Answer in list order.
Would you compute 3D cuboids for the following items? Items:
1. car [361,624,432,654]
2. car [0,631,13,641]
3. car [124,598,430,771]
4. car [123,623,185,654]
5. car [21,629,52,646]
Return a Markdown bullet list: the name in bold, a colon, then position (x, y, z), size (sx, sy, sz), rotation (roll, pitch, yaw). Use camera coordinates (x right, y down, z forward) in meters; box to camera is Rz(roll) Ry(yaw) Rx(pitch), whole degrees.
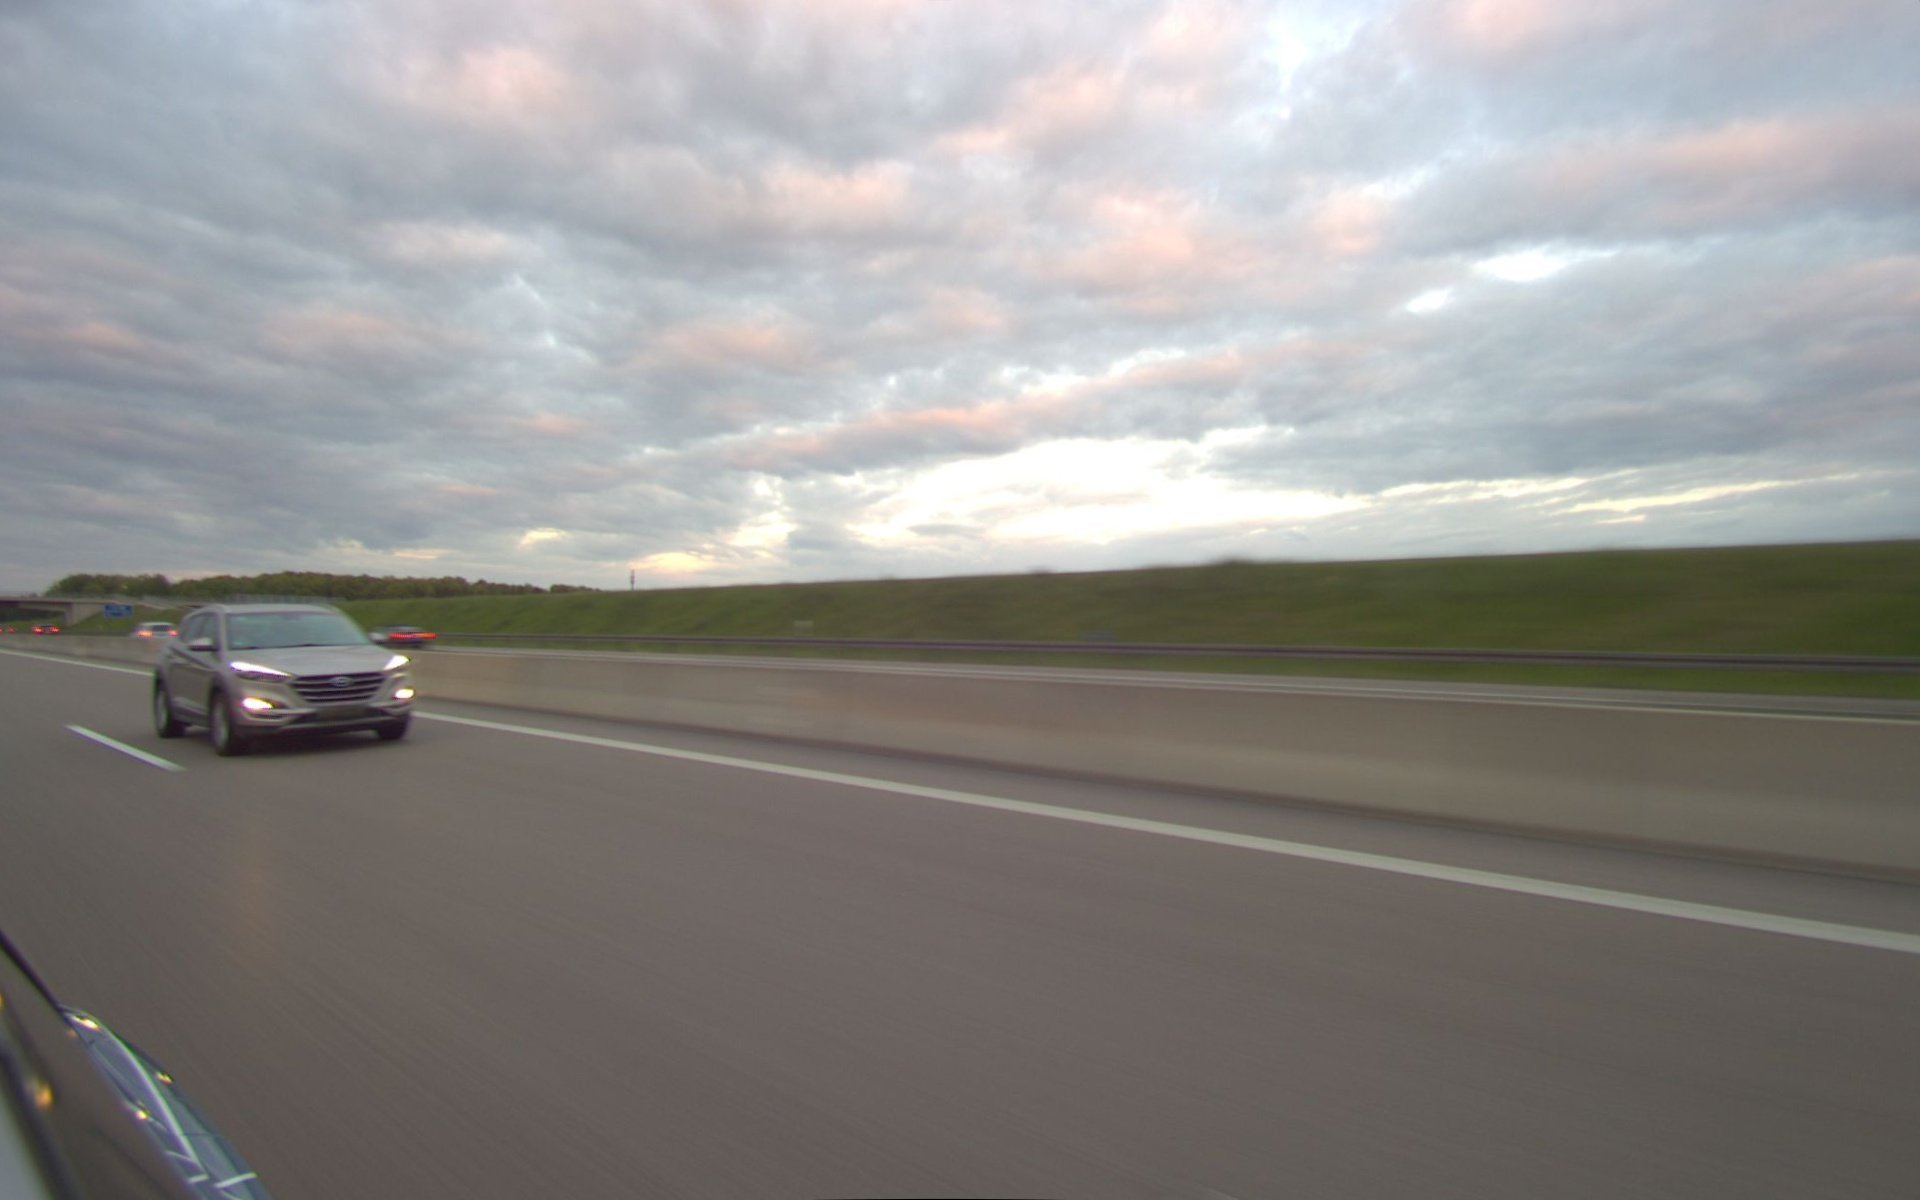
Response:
- **car**: position (-28.001, 1.925, 50.204), size (4.340, 1.403, 1.720), rotation (-2, -2, 41)
- **car**: position (-160.665, 6.026, 170.115), size (4.424, 1.529, 1.613), rotation (-2, -1, 41)
- **car**: position (-8.596, 0.893, 12.488), size (5.510, 1.705, 1.833), rotation (-2, -1, 42)
- **car**: position (-48.803, 2.313, 61.240), size (5.179, 1.749, 1.973), rotation (-2, -2, 41)
- **car**: position (-101.911, 4.084, 111.684), size (5.020, 1.824, 2.077), rotation (-2, -2, 42)
